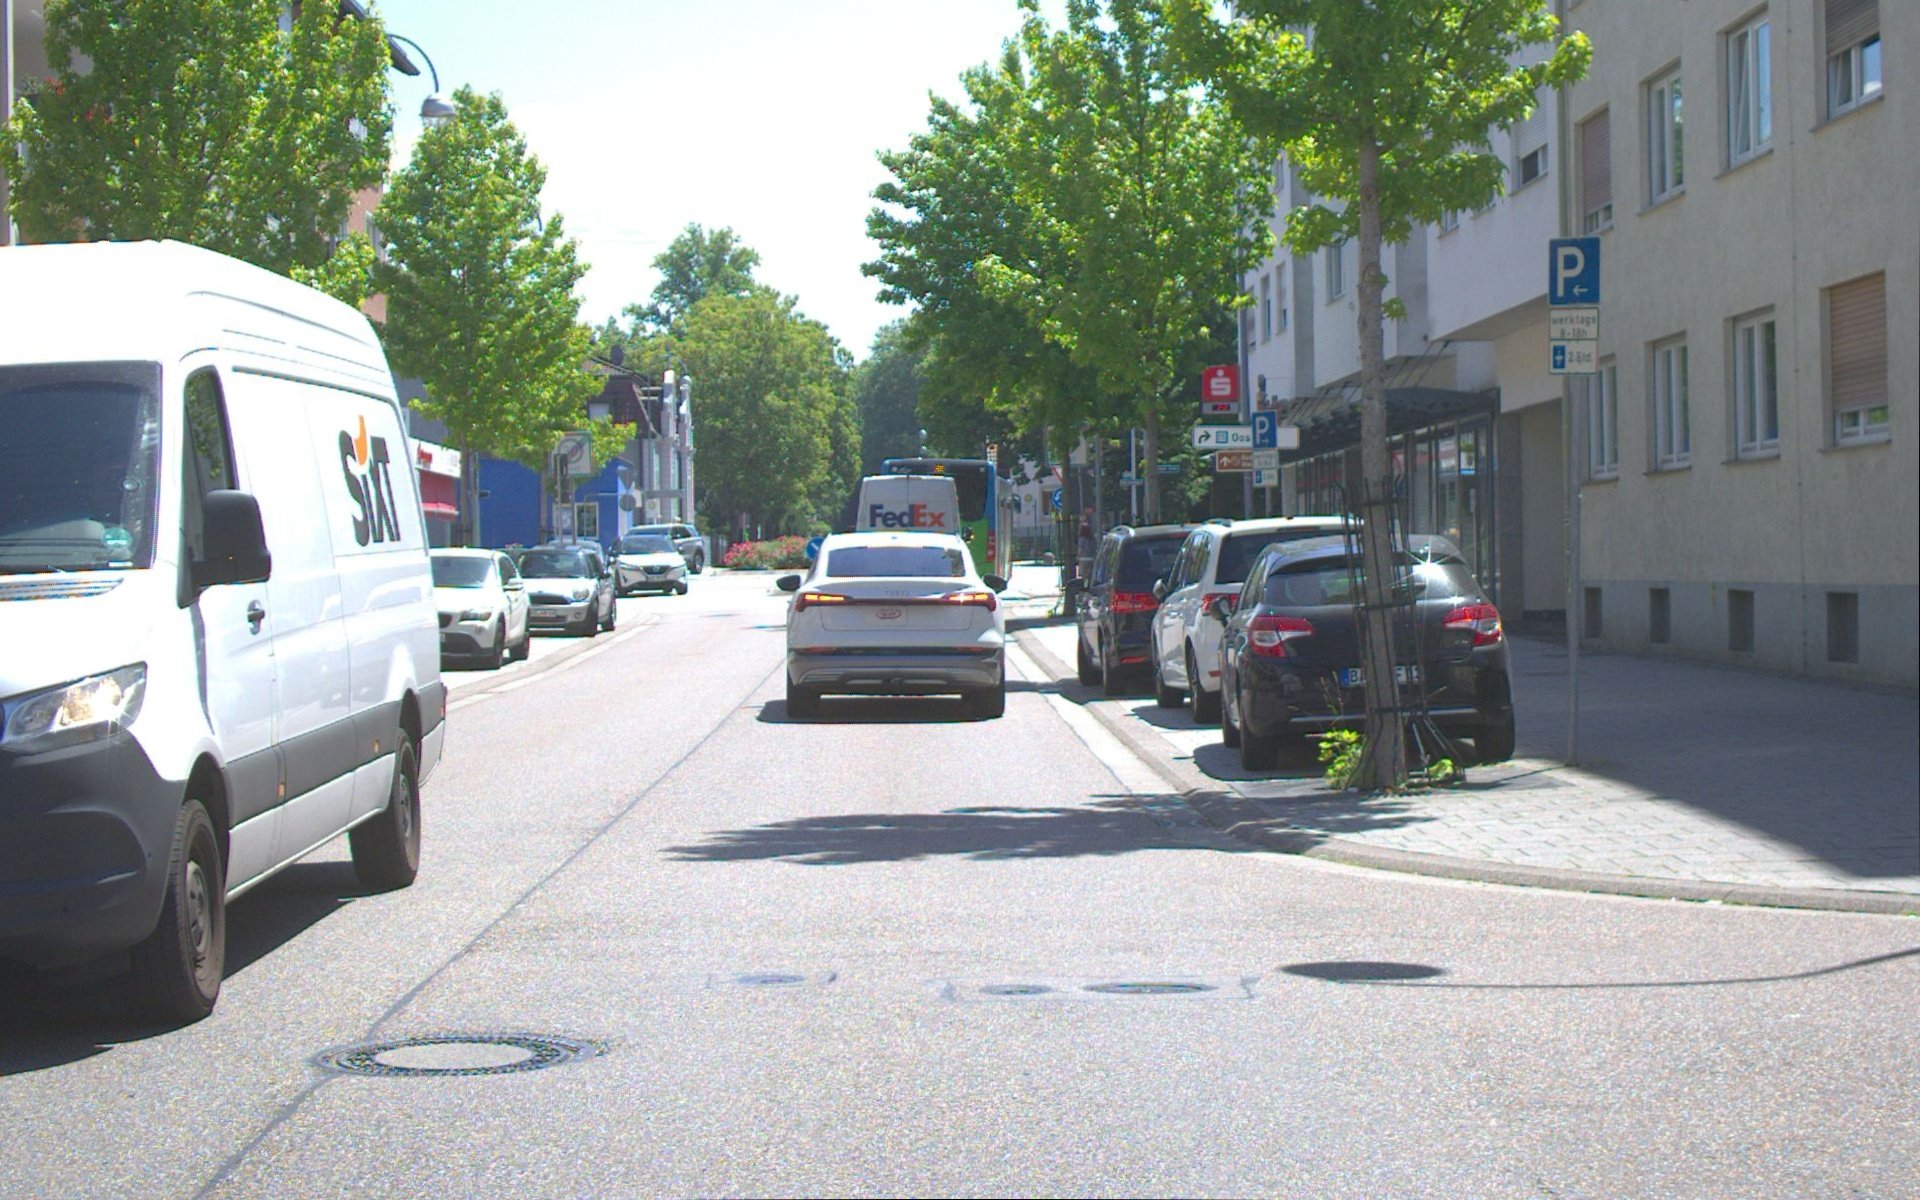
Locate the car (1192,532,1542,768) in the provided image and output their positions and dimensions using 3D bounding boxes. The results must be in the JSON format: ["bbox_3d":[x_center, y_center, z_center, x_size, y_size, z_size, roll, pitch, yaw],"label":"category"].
[{"bbox_3d":[2.675,0.266,23.580,1.896,1.433,4.544,-1,1,1],"label":"car"}]

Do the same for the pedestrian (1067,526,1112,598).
[{"bbox_3d":[2.710,-0.791,72.075,0.718,1.497,0.581,-1,1,31],"label":"pedestrian"}]

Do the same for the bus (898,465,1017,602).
[{"bbox_3d":[-0.006,-1.613,84.869,2.661,3.199,7.451,1,1,2],"label":"bus"}]

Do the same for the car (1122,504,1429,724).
[{"bbox_3d":[2.627,0.070,29.719,1.896,1.669,4.691,-3,1,-3],"label":"car"}]

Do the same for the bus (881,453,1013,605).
[{"bbox_3d":[-0.223,-1.570,77.530,2.661,3.210,7.301,1,1,2],"label":"bus"}]

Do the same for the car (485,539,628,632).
[{"bbox_3d":[-6.649,-0.267,56.985,1.752,1.448,4.401,1,1,1],"label":"car"}]

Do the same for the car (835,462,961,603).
[{"bbox_3d":[-1.112,-1.217,62.949,2.156,2.433,5.284,1,1,-1],"label":"car"}]

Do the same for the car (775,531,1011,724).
[{"bbox_3d":[-0.642,0.198,31.235,1.993,1.627,4.000,0,1,-2],"label":"car"}]

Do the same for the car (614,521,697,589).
[{"bbox_3d":[-8.075,-1.208,91.392,1.856,1.686,4.151,-2,1,-1],"label":"car"}]

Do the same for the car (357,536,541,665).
[{"bbox_3d":[-6.798,-0.026,46.118,1.752,1.612,4.401,1,1,0],"label":"car"}]

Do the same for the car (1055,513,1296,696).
[{"bbox_3d":[2.116,-0.001,35.061,1.855,1.669,4.537,-3,1,-3],"label":"car"}]

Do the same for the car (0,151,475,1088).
[{"bbox_3d":[-3.379,0.028,13.234,2.036,2.621,7.108,-3,1,-1],"label":"car"}]
